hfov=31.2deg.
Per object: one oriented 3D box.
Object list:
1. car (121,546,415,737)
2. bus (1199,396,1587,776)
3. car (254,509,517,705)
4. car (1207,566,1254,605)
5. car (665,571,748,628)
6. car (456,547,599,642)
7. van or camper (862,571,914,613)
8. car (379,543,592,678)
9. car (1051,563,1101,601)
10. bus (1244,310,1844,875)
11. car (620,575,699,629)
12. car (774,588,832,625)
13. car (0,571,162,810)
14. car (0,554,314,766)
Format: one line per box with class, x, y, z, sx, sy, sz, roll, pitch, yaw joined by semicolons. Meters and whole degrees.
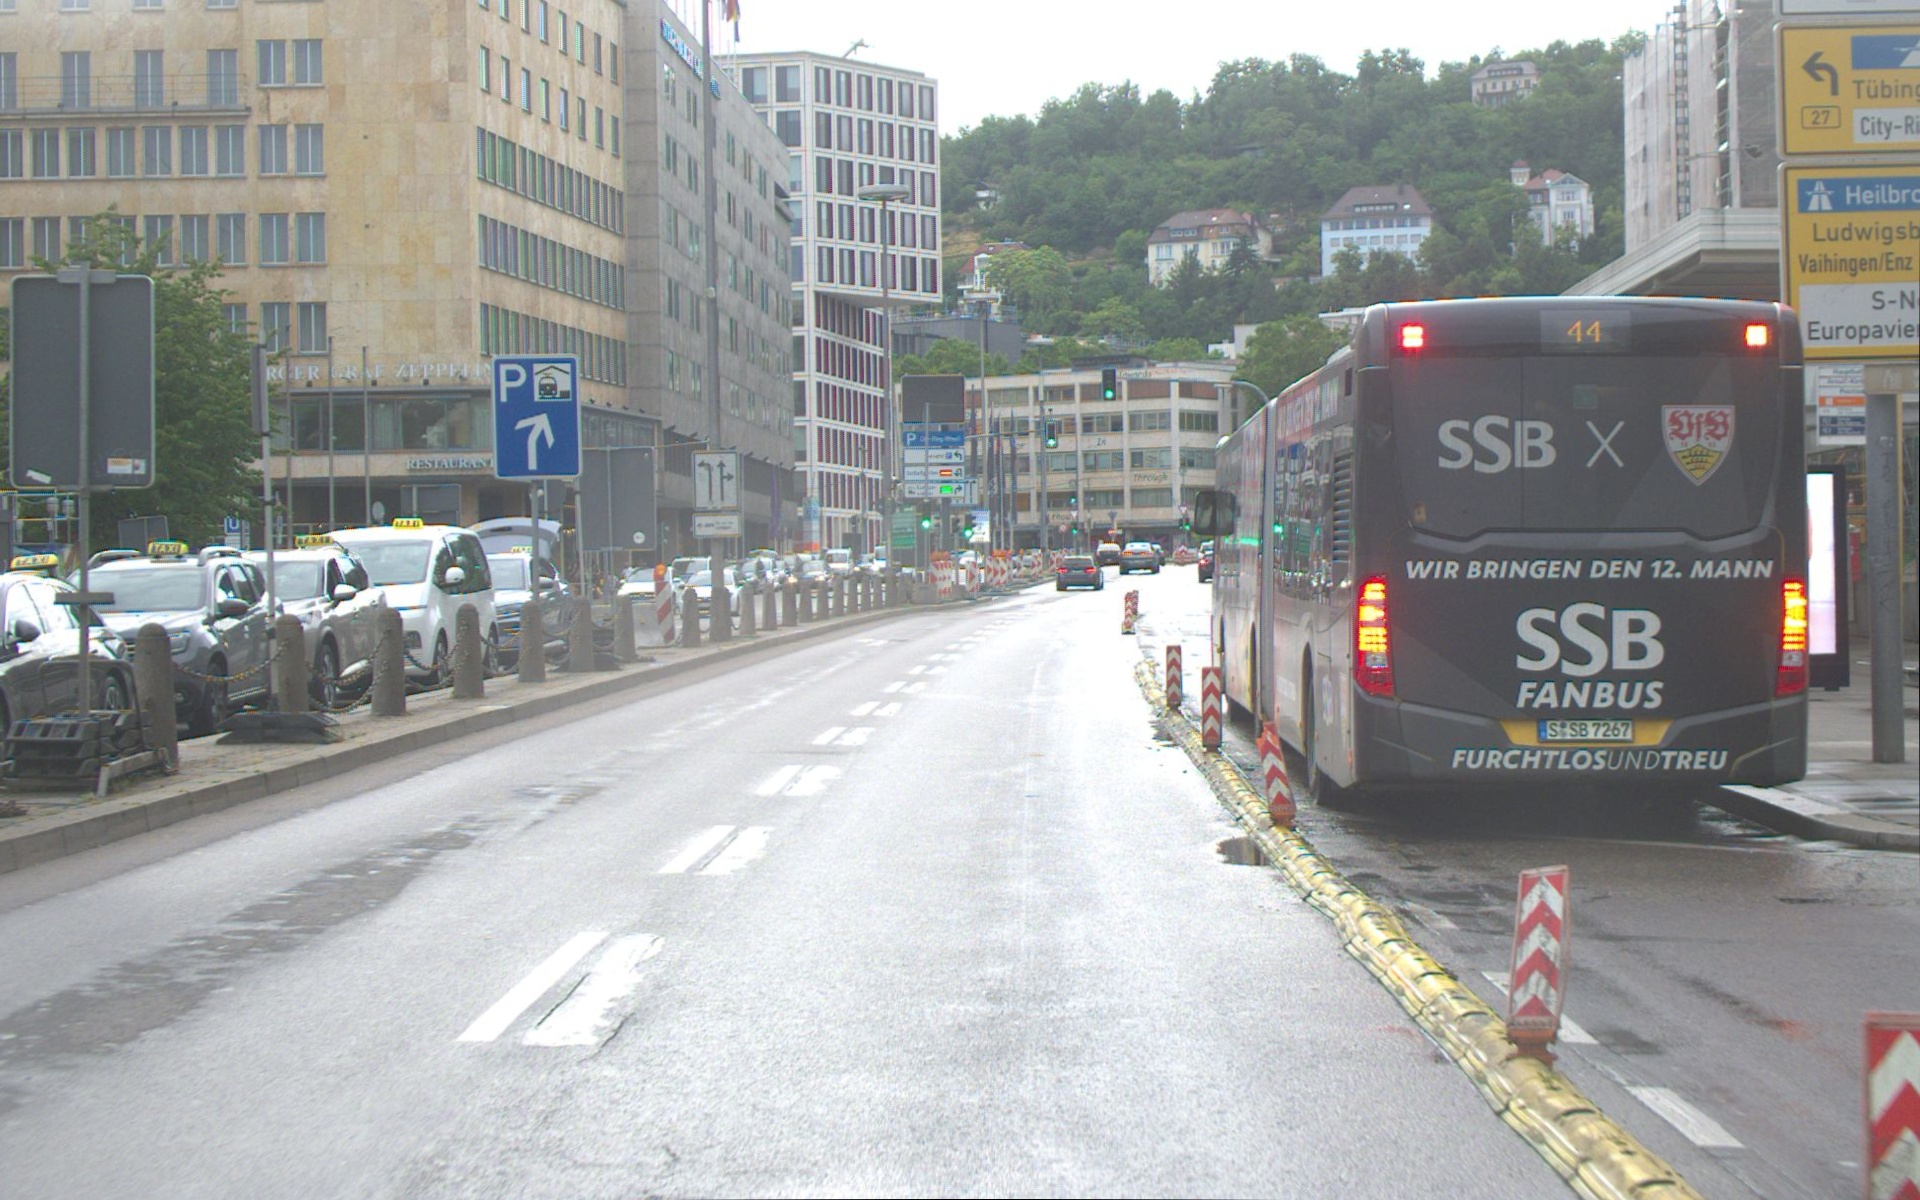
car;-7.148;0.396;35.985;1.930;1.800;4.582;-2;0;2
bus;3.820;-0.136;32.376;2.755;3.055;8.992;1;0;2
car;-6.830;0.042;41.474;1.994;2.171;5.544;-1;1;2
car;12.136;-0.657;154.489;1.994;1.700;4.000;-1;0;3
car;-7.709;-0.023;105.021;1.962;1.559;4.835;-3;1;2
car;-7.425;-0.099;59.330;1.993;1.547;4.000;-1;0;-1
van or camper;-3.490;-0.405;167.184;1.994;2.007;5.188;-1;0;5
car;-6.404;0.105;46.883;1.994;1.716;4.781;-1;1;3
car;4.823;-0.752;142.806;1.994;1.547;4.000;-1;0;3
bus;3.560;-0.068;23.322;2.755;3.058;9.079;1;0;2
car;-9.848;0.051;112.947;1.962;1.559;4.835;-3;1;2
car;-7.138;0.290;156.868;1.994;1.611;4.977;-1;0;5
car;-7.277;0.619;24.497;1.929;1.571;5.052;-2;0;0
car;-7.264;0.486;30.873;1.929;1.693;4.885;-2;0;0
